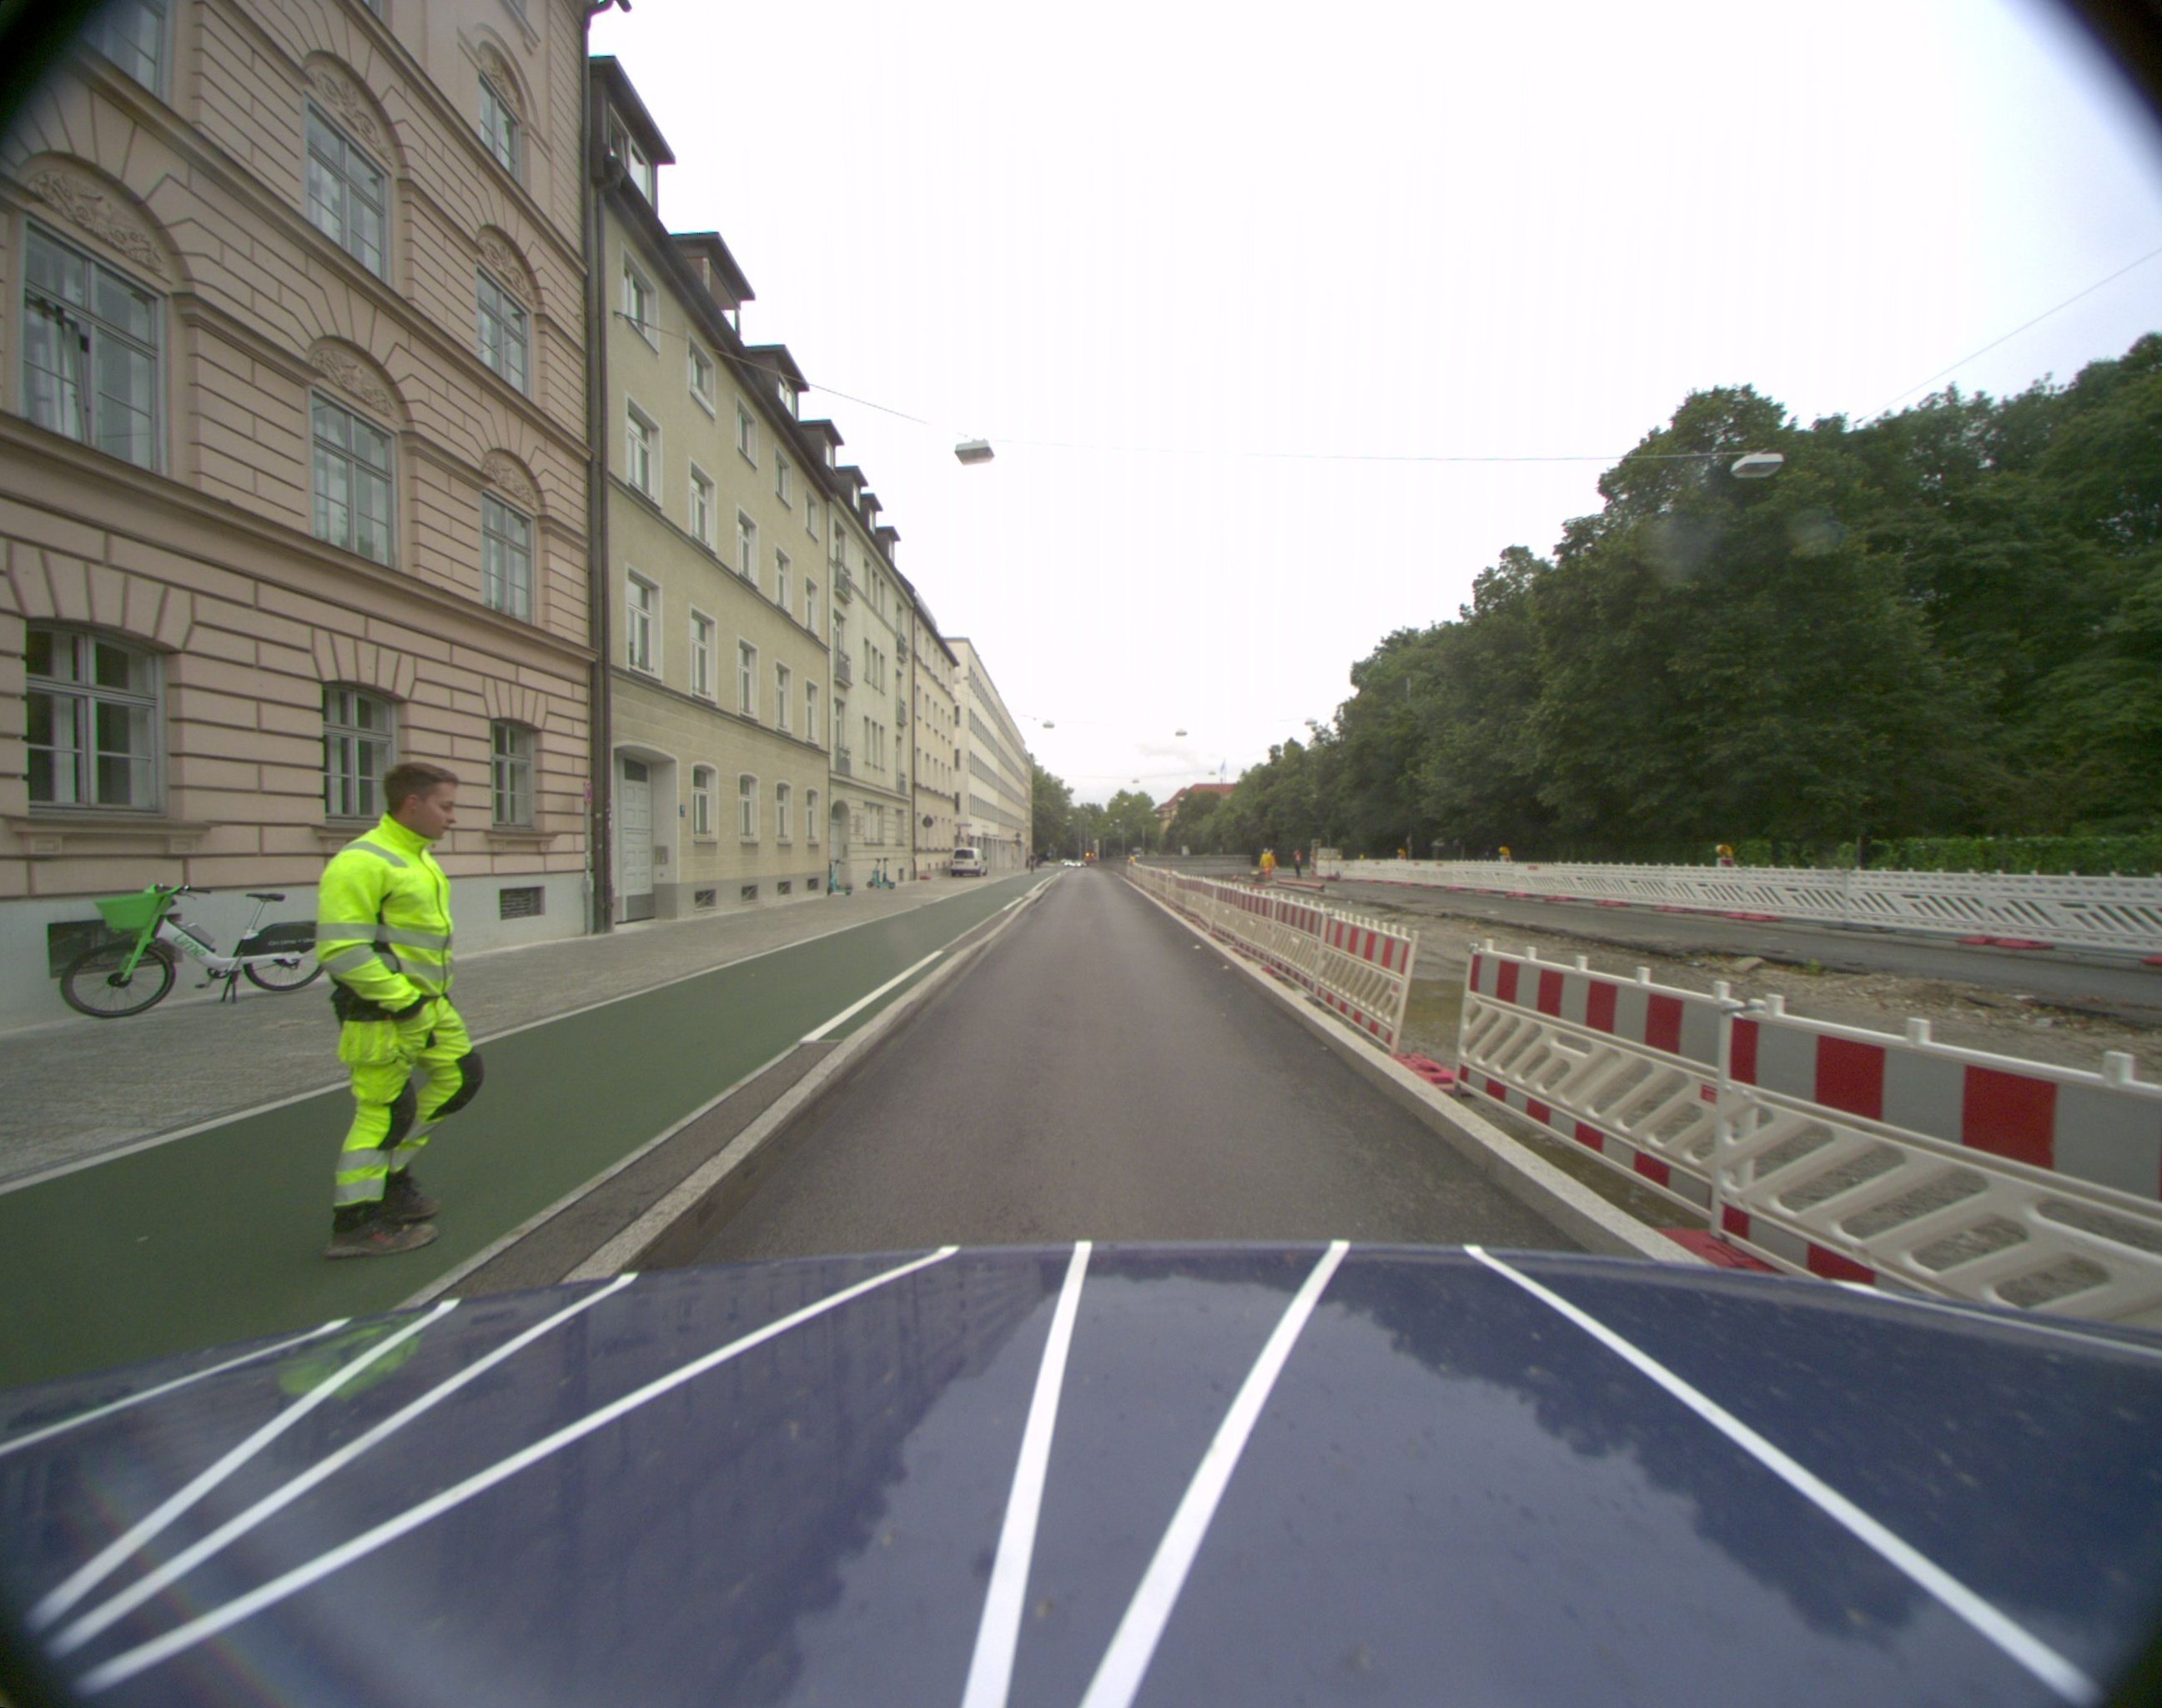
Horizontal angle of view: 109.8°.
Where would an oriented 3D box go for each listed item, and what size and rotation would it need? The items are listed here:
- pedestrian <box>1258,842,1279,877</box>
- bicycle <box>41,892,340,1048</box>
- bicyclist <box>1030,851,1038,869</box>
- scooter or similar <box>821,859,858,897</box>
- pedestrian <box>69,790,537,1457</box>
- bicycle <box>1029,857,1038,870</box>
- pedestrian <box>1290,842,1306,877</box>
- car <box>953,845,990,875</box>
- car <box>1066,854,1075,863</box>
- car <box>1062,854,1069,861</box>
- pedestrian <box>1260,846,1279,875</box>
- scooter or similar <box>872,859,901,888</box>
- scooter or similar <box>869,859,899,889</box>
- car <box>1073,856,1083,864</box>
[{"bbox_3d":[9.854,0.291,39.970,0.858,1.826,0.877,1,1,31],"label":"pedestrian"},{"bbox_3d":[-8.176,0.995,7.105,0.556,1.170,1.727,0,1,15],"label":"bicycle"},{"bbox_3d":[-3.829,0.473,62.149,0.632,1.459,0.652,0,1,-6],"label":"bicyclist"},{"bbox_3d":[-8.147,0.798,25.624,0.552,1.238,1.079,1,1,35],"label":"scooter or similar"},{"bbox_3d":[-2.643,0.719,2.667,0.813,1.792,0.995,0,1,41],"label":"pedestrian"},{"bbox_3d":[-3.896,0.772,62.129,0.632,1.031,2.016,0,1,-6],"label":"bicycle"},{"bbox_3d":[12.063,0.298,42.226,0.666,1.959,0.807,0,1,26],"label":"pedestrian"},{"bbox_3d":[-6.893,0.345,48.142,1.766,1.821,3.999,-1,1,0],"label":"car"},{"bbox_3d":[-2.466,1.072,182.620,1.998,2.002,3.999,-2,1,1],"label":"car"},{"bbox_3d":[-4.614,0.950,222.245,1.999,2.002,3.998,-2,1,-2],"label":"car"},{"bbox_3d":[10.849,0.356,43.654,0.900,1.679,0.911,0,1,3],"label":"pedestrian"},{"bbox_3d":[-8.156,0.795,31.820,1.079,1.185,0.436,-1,1,-39],"label":"scooter or similar"},{"bbox_3d":[-7.895,0.791,30.484,1.078,1.185,0.453,0,1,-29],"label":"scooter or similar"},{"bbox_3d":[-0.646,1.141,153.668,1.759,1.461,3.998,-2,1,-5],"label":"car"}]
